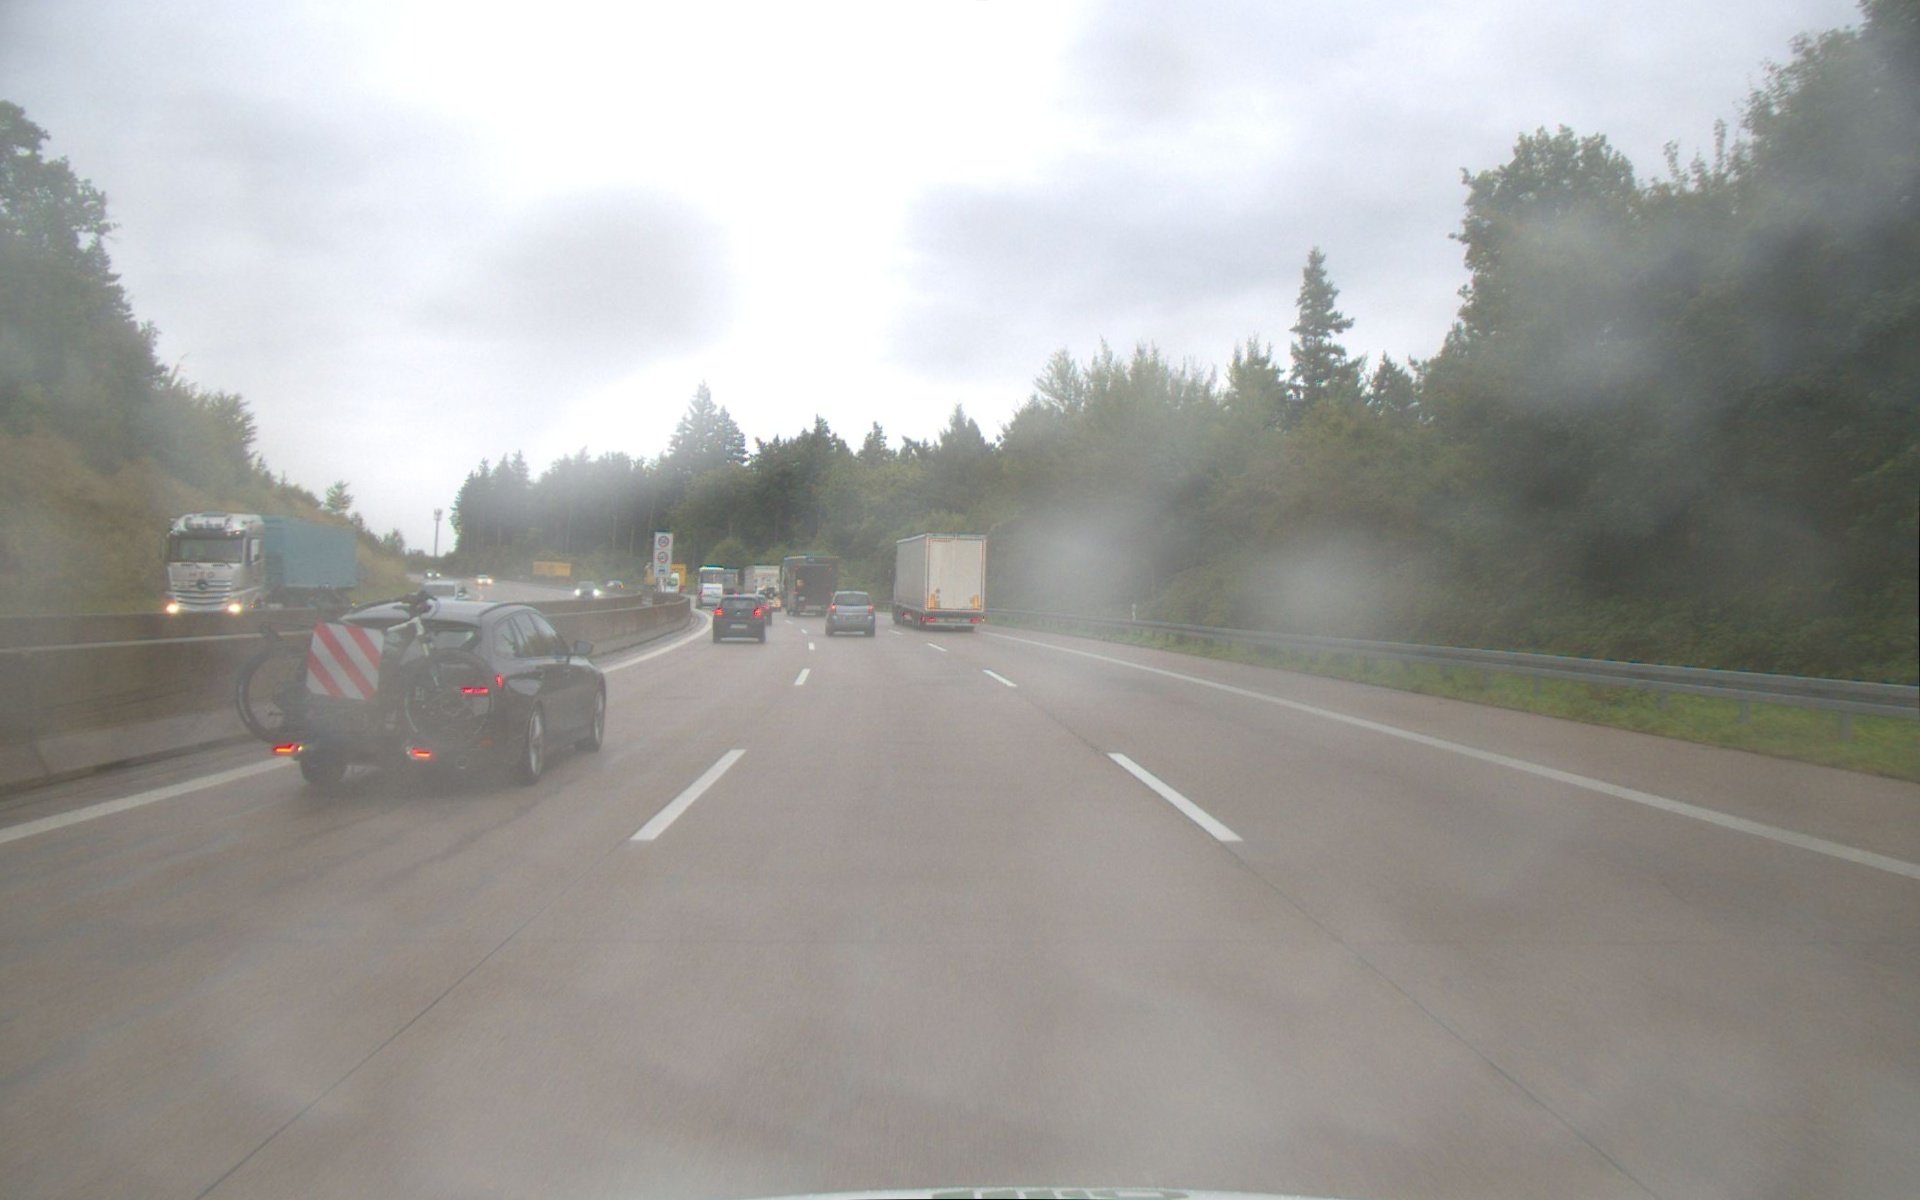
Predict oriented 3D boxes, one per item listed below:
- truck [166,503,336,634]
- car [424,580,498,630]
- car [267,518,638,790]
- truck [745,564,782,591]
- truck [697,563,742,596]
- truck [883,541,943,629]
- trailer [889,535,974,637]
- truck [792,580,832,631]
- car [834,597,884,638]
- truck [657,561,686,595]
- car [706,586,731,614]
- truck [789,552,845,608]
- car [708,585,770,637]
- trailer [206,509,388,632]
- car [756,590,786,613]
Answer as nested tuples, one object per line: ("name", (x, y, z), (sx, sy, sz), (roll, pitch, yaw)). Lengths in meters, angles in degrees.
("truck", (-23.058, -0.956, 54.281), (2.850, 3.957, 7.357), (1, 0, -5))
("car", (-18.787, 0.172, 62.476), (1.697, 1.807, 4.754), (1, 0, -5))
("car", (-4.296, 0.393, 15.152), (1.870, 1.979, 6.158), (1, 0, -4))
("truck", (-19.278, -2.197, 161.721), (2.923, 2.349, 6.647), (3, 0, -12))
("truck", (-22.953, -1.968, 157.639), (3.033, 2.956, 7.867), (1, 1, -17))
("truck", (-2.365, -0.742, 81.673), (2.374, 4.139, 4.969), (1, 0, -8))
("trailer", (-1.426, -0.649, 74.421), (2.374, 4.139, 12.034), (1, 1, -8))
("truck", (-9.178, 0.276, 103.118), (2.225, 2.937, 7.897), (2, 1, -4))
("car", (-3.686, 0.615, 60.717), (1.522, 1.375, 3.683), (3, 0, 0))
("truck", (-37.816, -2.807, 217.238), (3.671, 4.283, 6.802), (1, 0, -10))
("car", (-17.918, 0.028, 122.819), (1.692, 2.049, 3.651), (1, 0, -7))
("truck", (-11.321, -1.588, 130.139), (3.309, 4.203, 10.410), (1, 1, -11))
("car", (-6.862, 0.322, 51.535), (1.651, 1.487, 3.680), (3, 0, -5))
("trailer", (-23.476, -0.984, 59.368), (2.850, 3.957, 11.025), (1, 0, -5))
("car", (-13.518, 0.093, 118.515), (1.844, 1.498, 3.998), (3, 0, -3))
